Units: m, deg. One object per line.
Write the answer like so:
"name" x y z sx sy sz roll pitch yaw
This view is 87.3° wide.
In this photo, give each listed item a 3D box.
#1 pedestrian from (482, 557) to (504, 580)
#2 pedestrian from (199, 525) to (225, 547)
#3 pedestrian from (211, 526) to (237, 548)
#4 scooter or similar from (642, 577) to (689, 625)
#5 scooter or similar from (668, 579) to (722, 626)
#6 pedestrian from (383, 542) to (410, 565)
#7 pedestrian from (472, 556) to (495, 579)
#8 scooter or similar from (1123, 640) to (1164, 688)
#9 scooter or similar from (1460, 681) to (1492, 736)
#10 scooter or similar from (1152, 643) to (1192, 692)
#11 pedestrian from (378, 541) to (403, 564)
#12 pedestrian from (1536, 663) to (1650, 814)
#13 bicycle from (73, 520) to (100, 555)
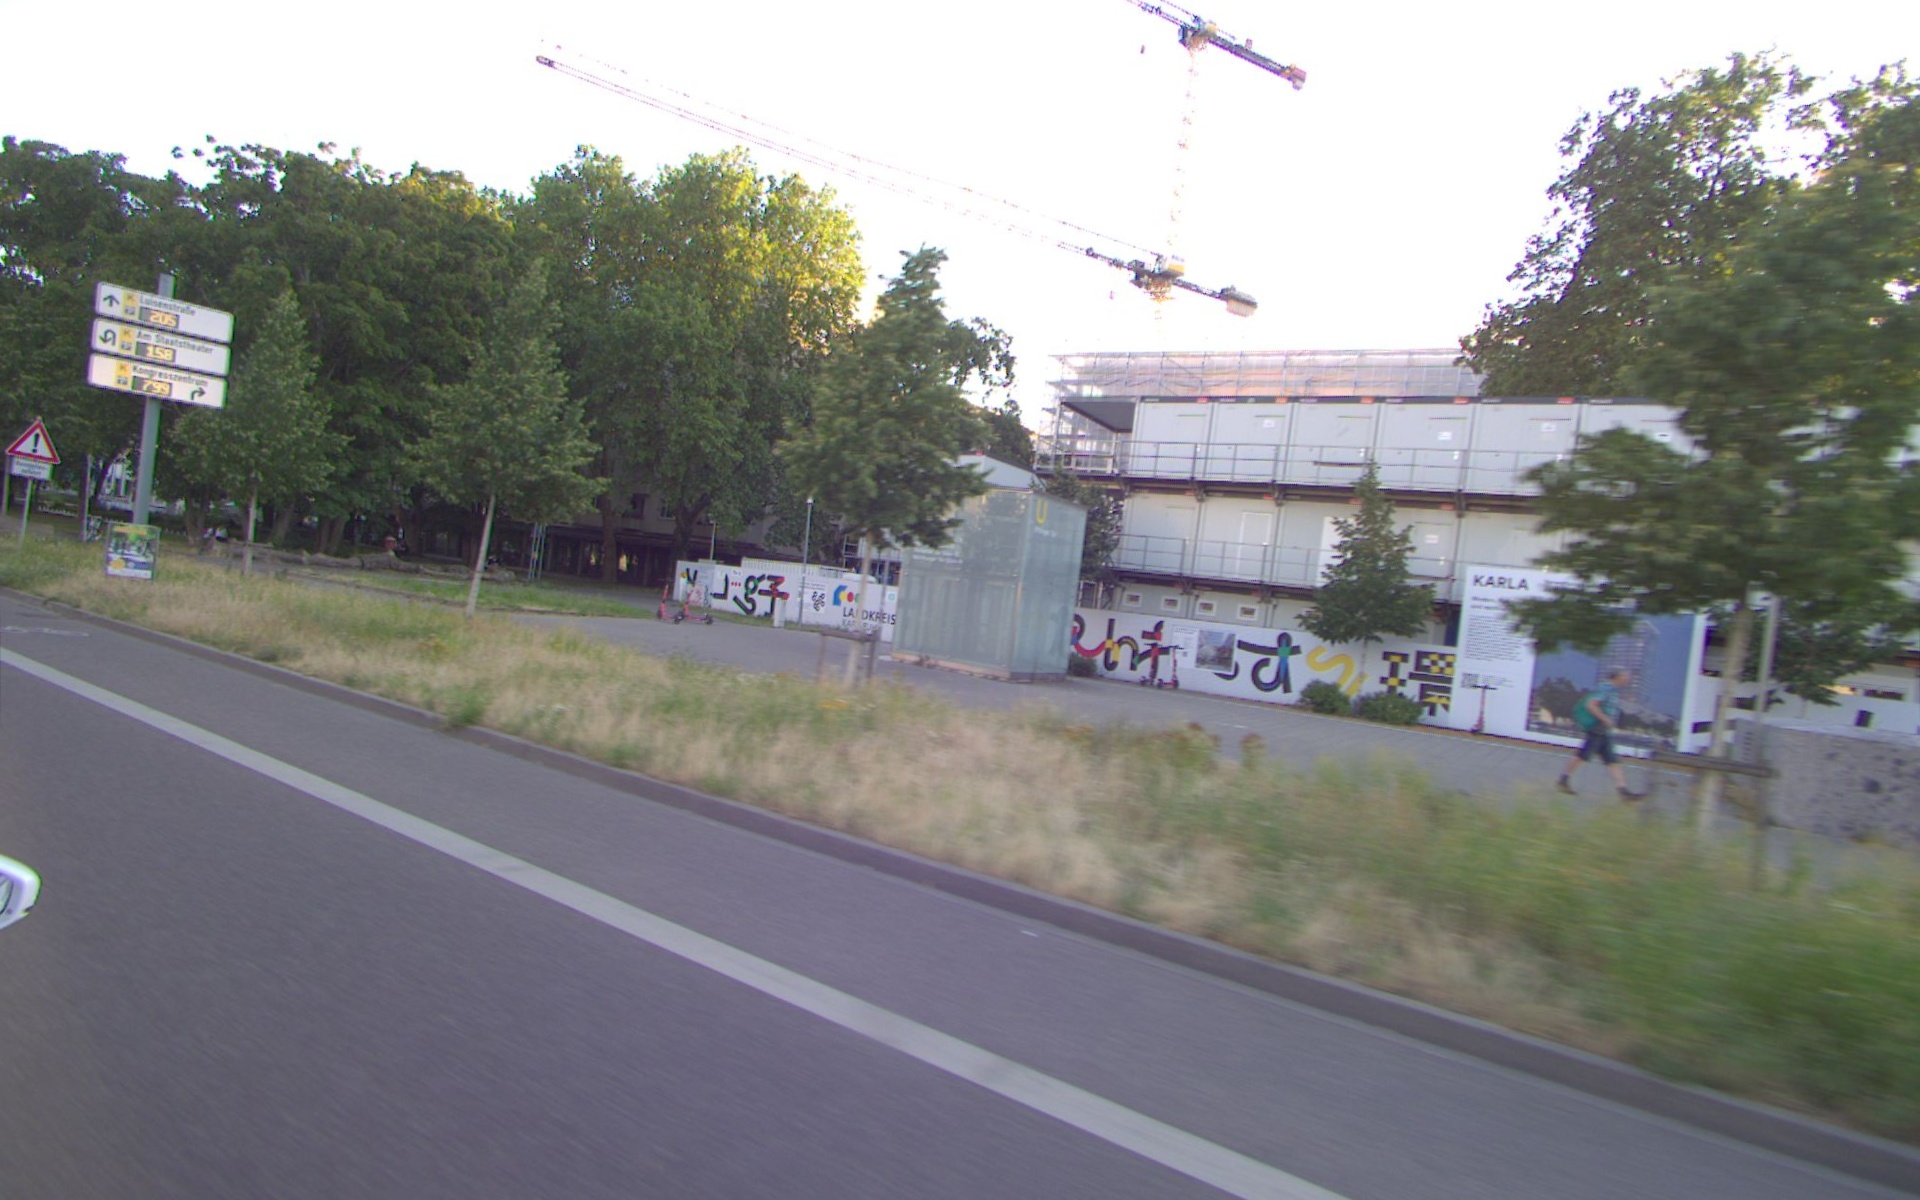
"pedestrian" -27.013 -1.830 58.221 0.753 1.179 0.787 7 1 28
"pedestrian" -34.268 -2.944 46.081 0.582 0.895 0.681 7 1 9
"pedestrian" -33.648 -2.882 45.991 0.611 0.895 0.681 7 1 10
"scooter or similar" -8.369 0.026 28.590 1.376 1.237 0.423 7 4 34
"scooter or similar" -7.805 0.066 29.615 1.547 1.237 0.473 7 3 27
"pedestrian" -35.644 -2.919 63.650 0.891 1.276 1.131 7 1 35
"pedestrian" -27.766 -1.883 58.608 0.753 1.179 0.787 7 1 28
"scooter or similar" 5.118 1.790 27.985 0.467 1.235 1.572 7 -1 31
"scooter or similar" 12.405 2.588 24.176 0.467 1.235 1.571 7 0 31
"scooter or similar" 5.823 1.859 27.603 0.467 1.235 1.572 7 -1 31
"pedestrian" -36.365 -3.013 64.248 0.714 1.276 1.131 7 1 35
"pedestrian" 8.633 1.858 13.717 1.031 1.838 0.814 8 2 38
"bicycle" -28.455 -2.045 32.780 0.491 1.019 1.879 3 3 -37
